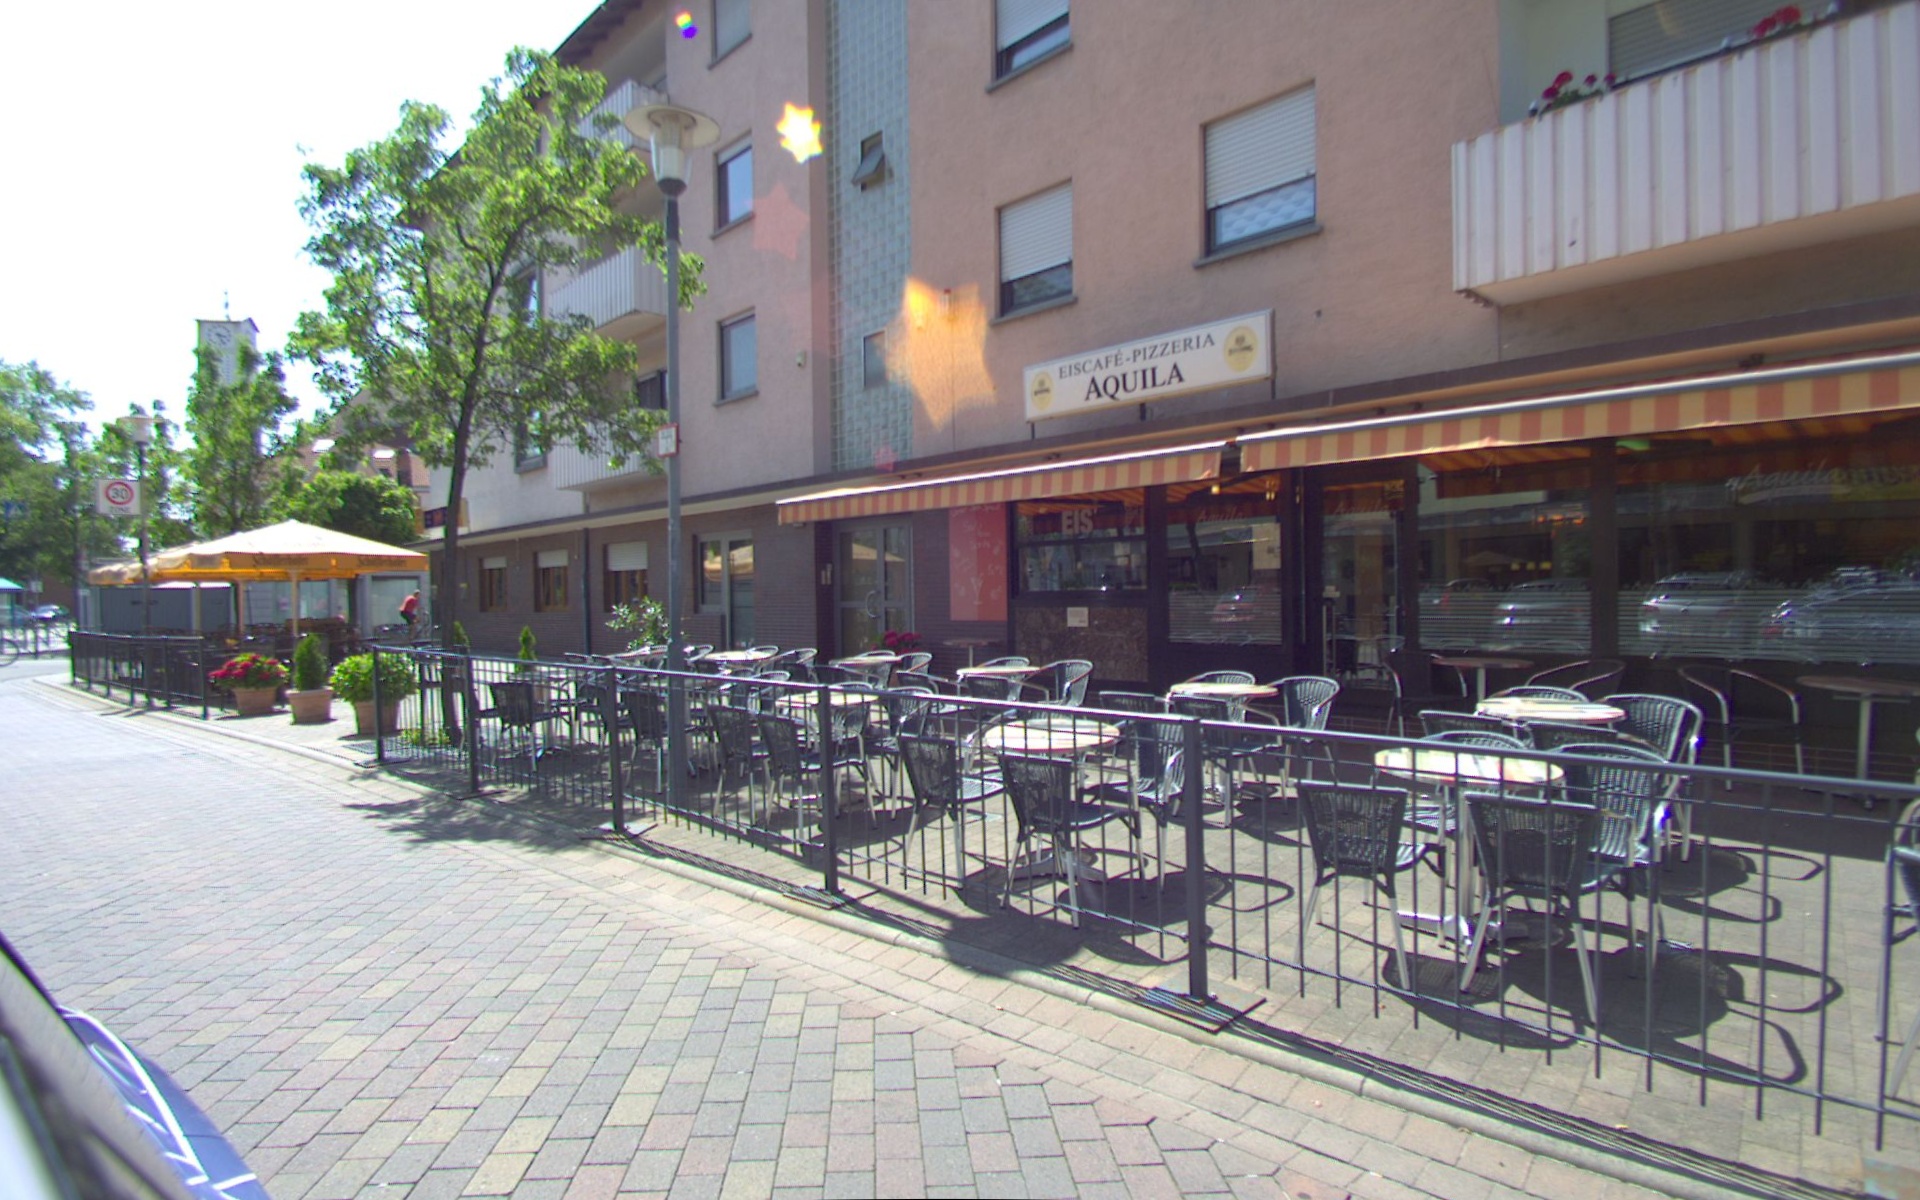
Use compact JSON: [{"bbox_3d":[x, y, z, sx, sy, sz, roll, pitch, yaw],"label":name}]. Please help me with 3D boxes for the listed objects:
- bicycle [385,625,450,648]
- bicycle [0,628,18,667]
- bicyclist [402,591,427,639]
[{"bbox_3d":[-17.399,1.164,32.494,1.784,0.678,0.490,-1,0,-40],"label":"bicycle"},{"bbox_3d":[-24.356,1.202,24.412,0.774,0.932,2.313,-1,1,39],"label":"bicycle"},{"bbox_3d":[-17.484,0.475,32.456,0.571,1.521,0.628,-1,0,-39],"label":"bicyclist"}]
